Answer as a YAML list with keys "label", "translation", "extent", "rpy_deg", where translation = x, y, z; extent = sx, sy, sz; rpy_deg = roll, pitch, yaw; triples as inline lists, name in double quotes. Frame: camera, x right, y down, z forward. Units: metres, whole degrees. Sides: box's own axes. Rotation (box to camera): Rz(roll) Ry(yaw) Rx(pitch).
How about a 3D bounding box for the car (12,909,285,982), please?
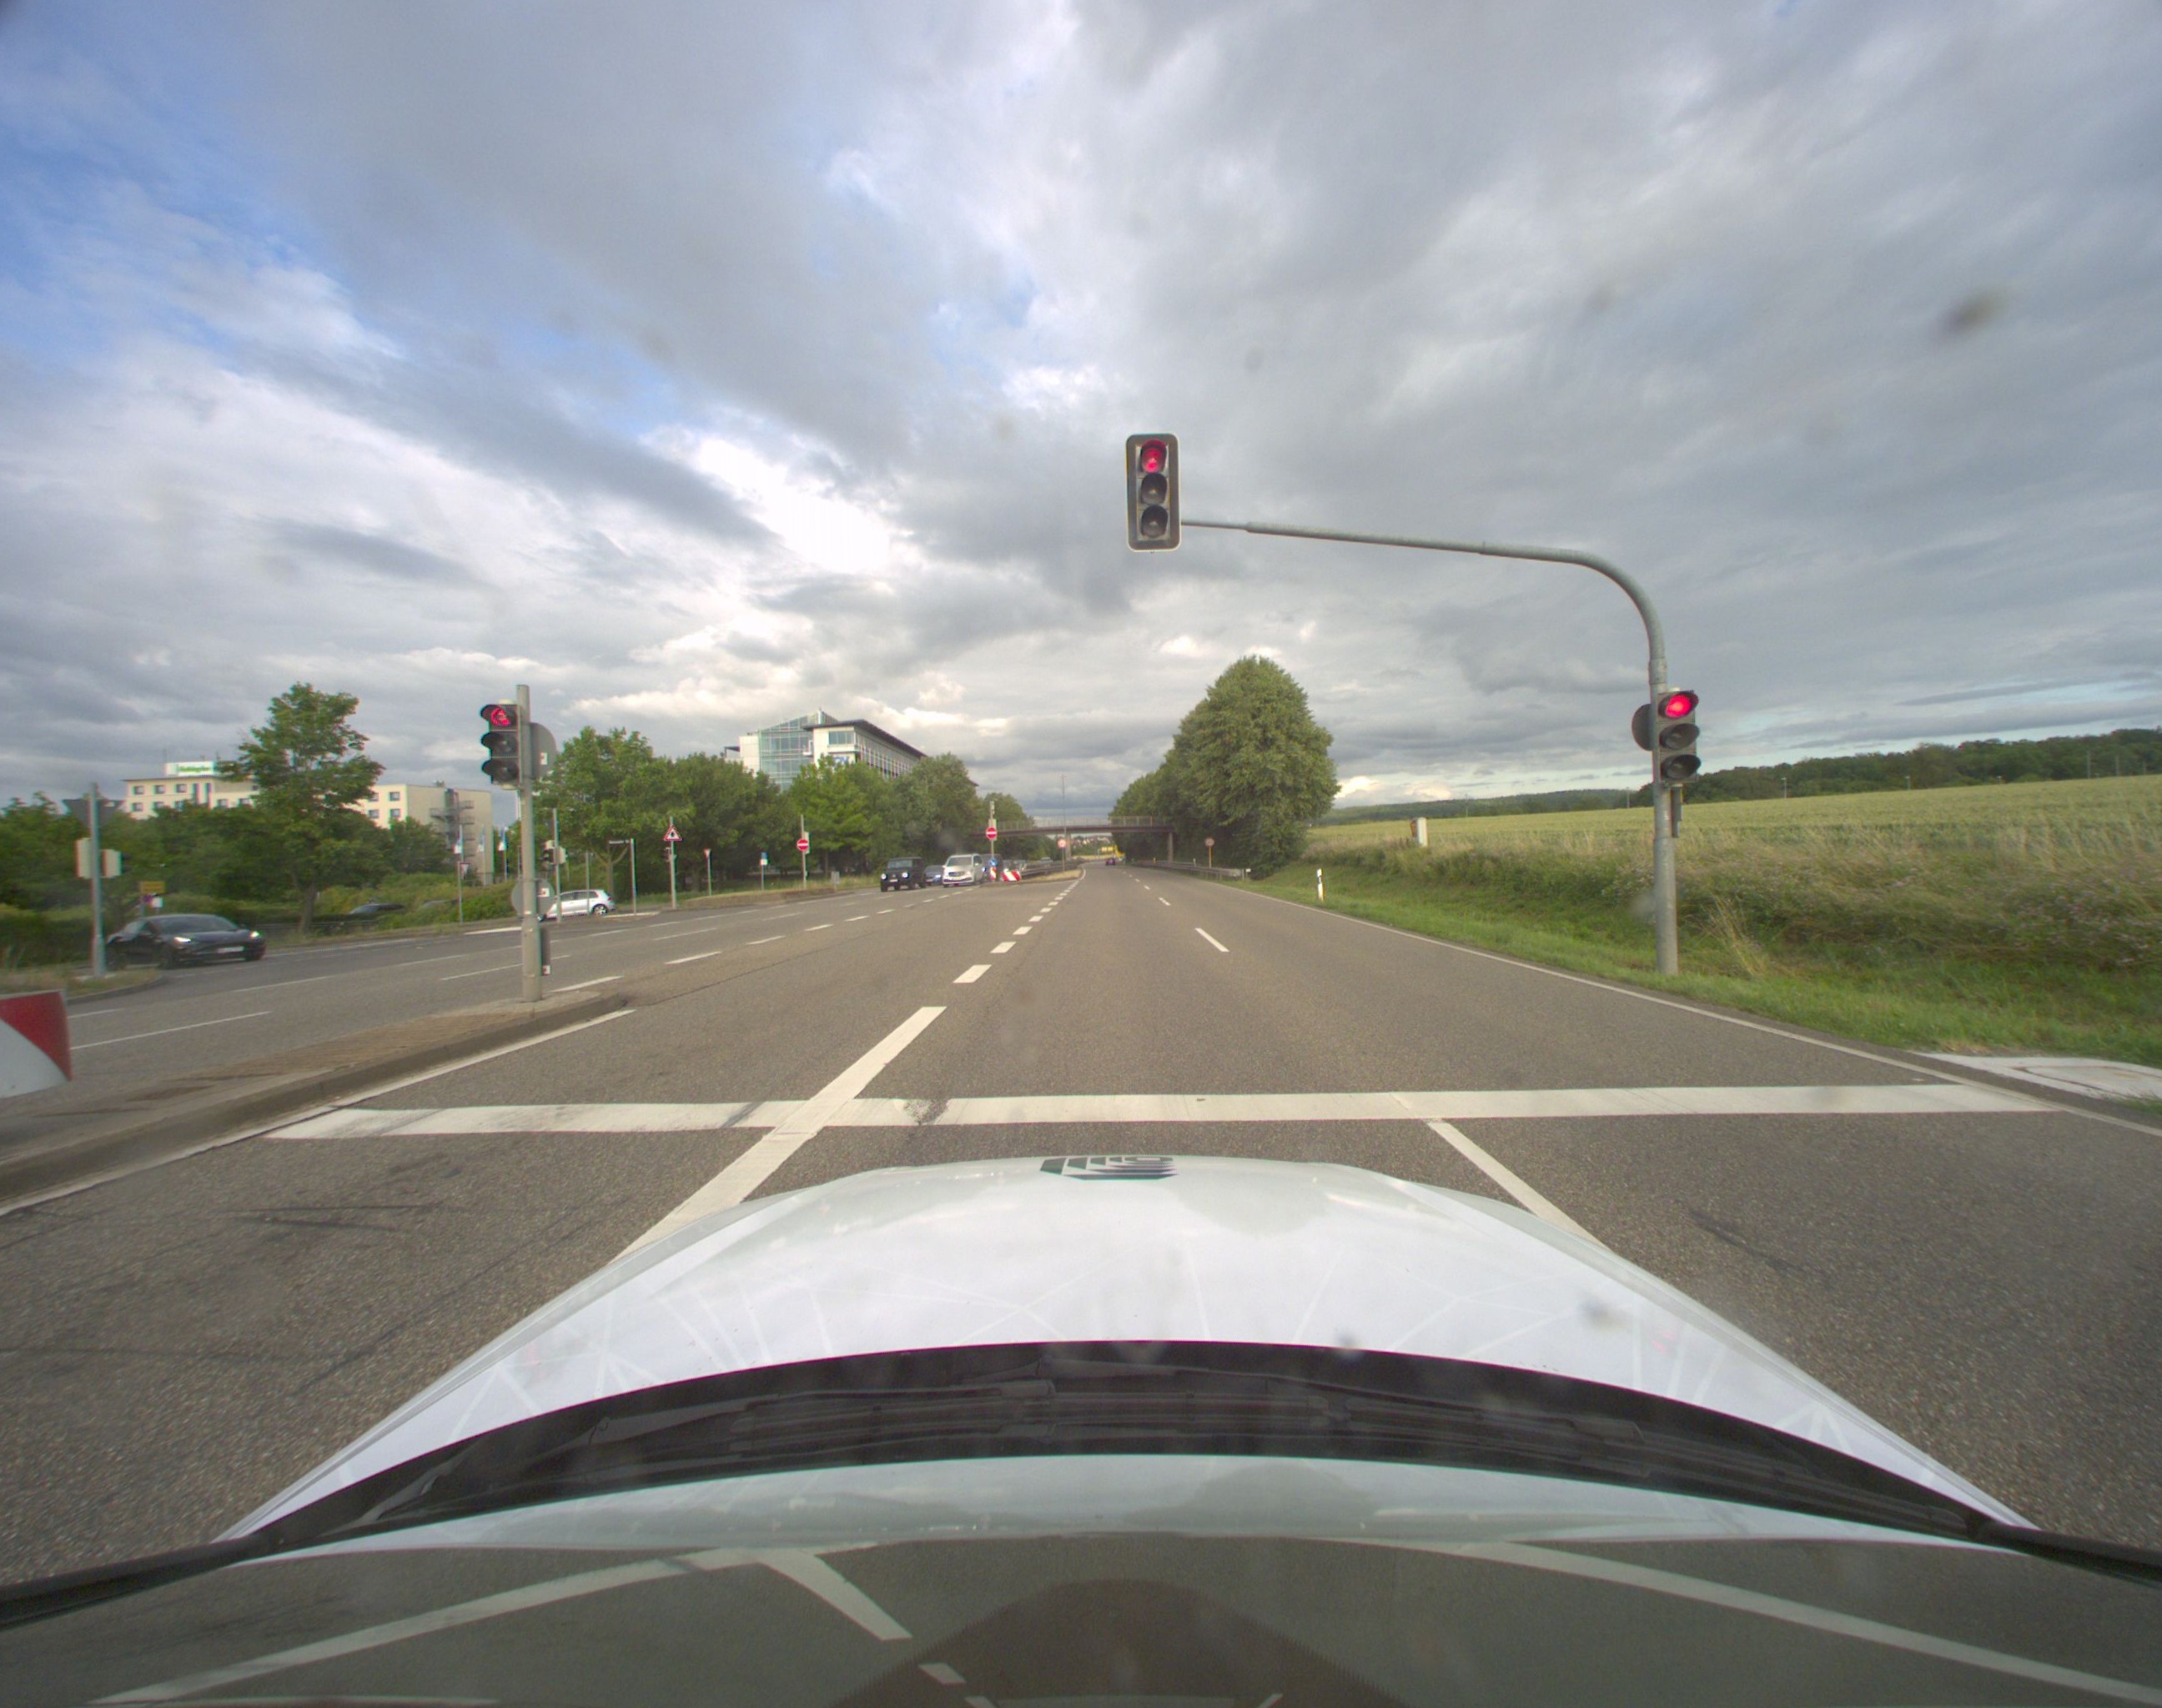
- label: "car"
  translation: [-24.672, 2.367, 21.786]
  extent: [4.375, 1.457, 1.908]
  rpy_deg: [-3, -2, -21]

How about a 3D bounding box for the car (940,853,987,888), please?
- label: "car"
  translation: [-7.095, 0.967, 49.676]
  extent: [2.076, 2.014, 5.216]
  rpy_deg: [0, -1, 1]

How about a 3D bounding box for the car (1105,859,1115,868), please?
- label: "car"
  translation: [5.515, 1.807, 156.036]
  extent: [1.873, 1.552, 4.000]
  rpy_deg: [0, -1, 0]

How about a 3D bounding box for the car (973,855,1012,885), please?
- label: "car"
  translation: [-6.177, 1.076, 57.394]
  extent: [2.076, 2.014, 5.216]
  rpy_deg: [0, -1, 1]

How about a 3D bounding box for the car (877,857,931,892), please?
- label: "car"
  translation: [-10.716, 1.190, 49.650]
  extent: [2.076, 2.014, 5.216]
  rpy_deg: [0, -1, 1]

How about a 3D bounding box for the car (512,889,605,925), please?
- label: "car"
  translation: [-25.981, 2.613, 40.559]
  extent: [3.767, 1.342, 1.569]
  rpy_deg: [-5, 0, -35]

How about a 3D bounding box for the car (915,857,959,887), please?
- label: "car"
  translation: [-10.018, 1.255, 57.139]
  extent: [2.076, 2.014, 5.216]
  rpy_deg: [0, -1, 1]

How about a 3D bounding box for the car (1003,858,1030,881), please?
- label: "car"
  translation: [-5.990, 1.408, 75.945]
  extent: [2.076, 2.014, 5.216]
  rpy_deg: [0, -1, 1]
